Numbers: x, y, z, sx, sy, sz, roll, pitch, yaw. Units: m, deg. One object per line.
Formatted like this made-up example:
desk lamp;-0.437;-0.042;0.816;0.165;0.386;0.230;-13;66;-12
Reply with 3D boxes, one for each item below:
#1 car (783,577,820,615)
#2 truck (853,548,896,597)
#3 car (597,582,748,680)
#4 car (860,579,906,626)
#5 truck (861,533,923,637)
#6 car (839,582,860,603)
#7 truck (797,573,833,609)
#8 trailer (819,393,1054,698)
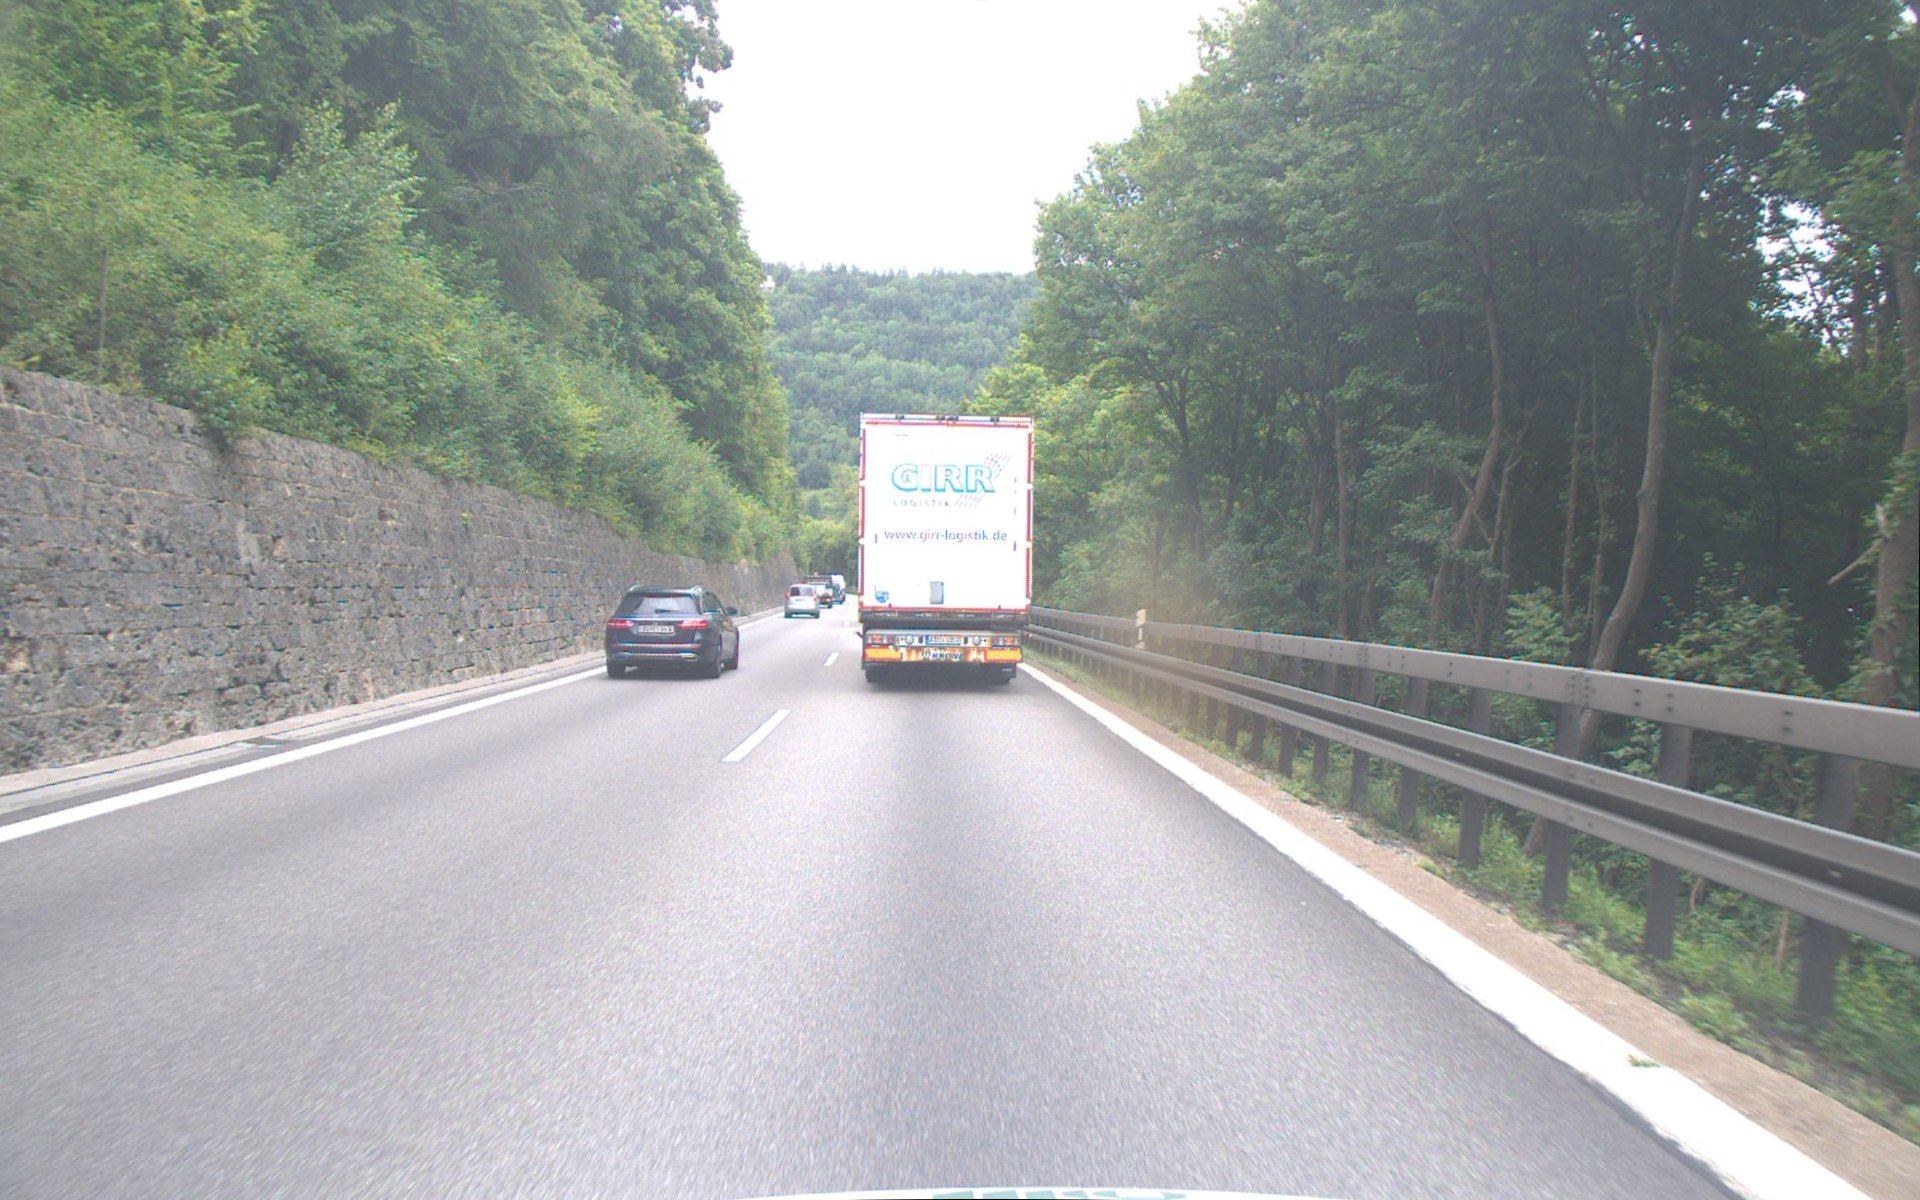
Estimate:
car;-7.744;-0.185;81.207;1.601;1.757;4.342;2;0;-3
truck;-7.314;-2.281;140.513;3.010;3.944;8.448;3;0;-6
car;-4.777;0.453;28.176;1.725;1.489;5.122;1;1;-1
car;-3.658;0.097;77.613;1.954;2.049;4.329;3;0;-4
truck;-2.812;-0.565;66.929;2.189;3.870;6.818;3;0;-4
car;-11.087;-0.751;166.396;1.954;2.049;3.998;3;0;-3
truck;-10.033;-0.666;115.014;2.303;2.313;6.843;3;0;-4
trailer;-0.550;-0.830;28.274;3.071;4.112;9.434;4;1;-3
